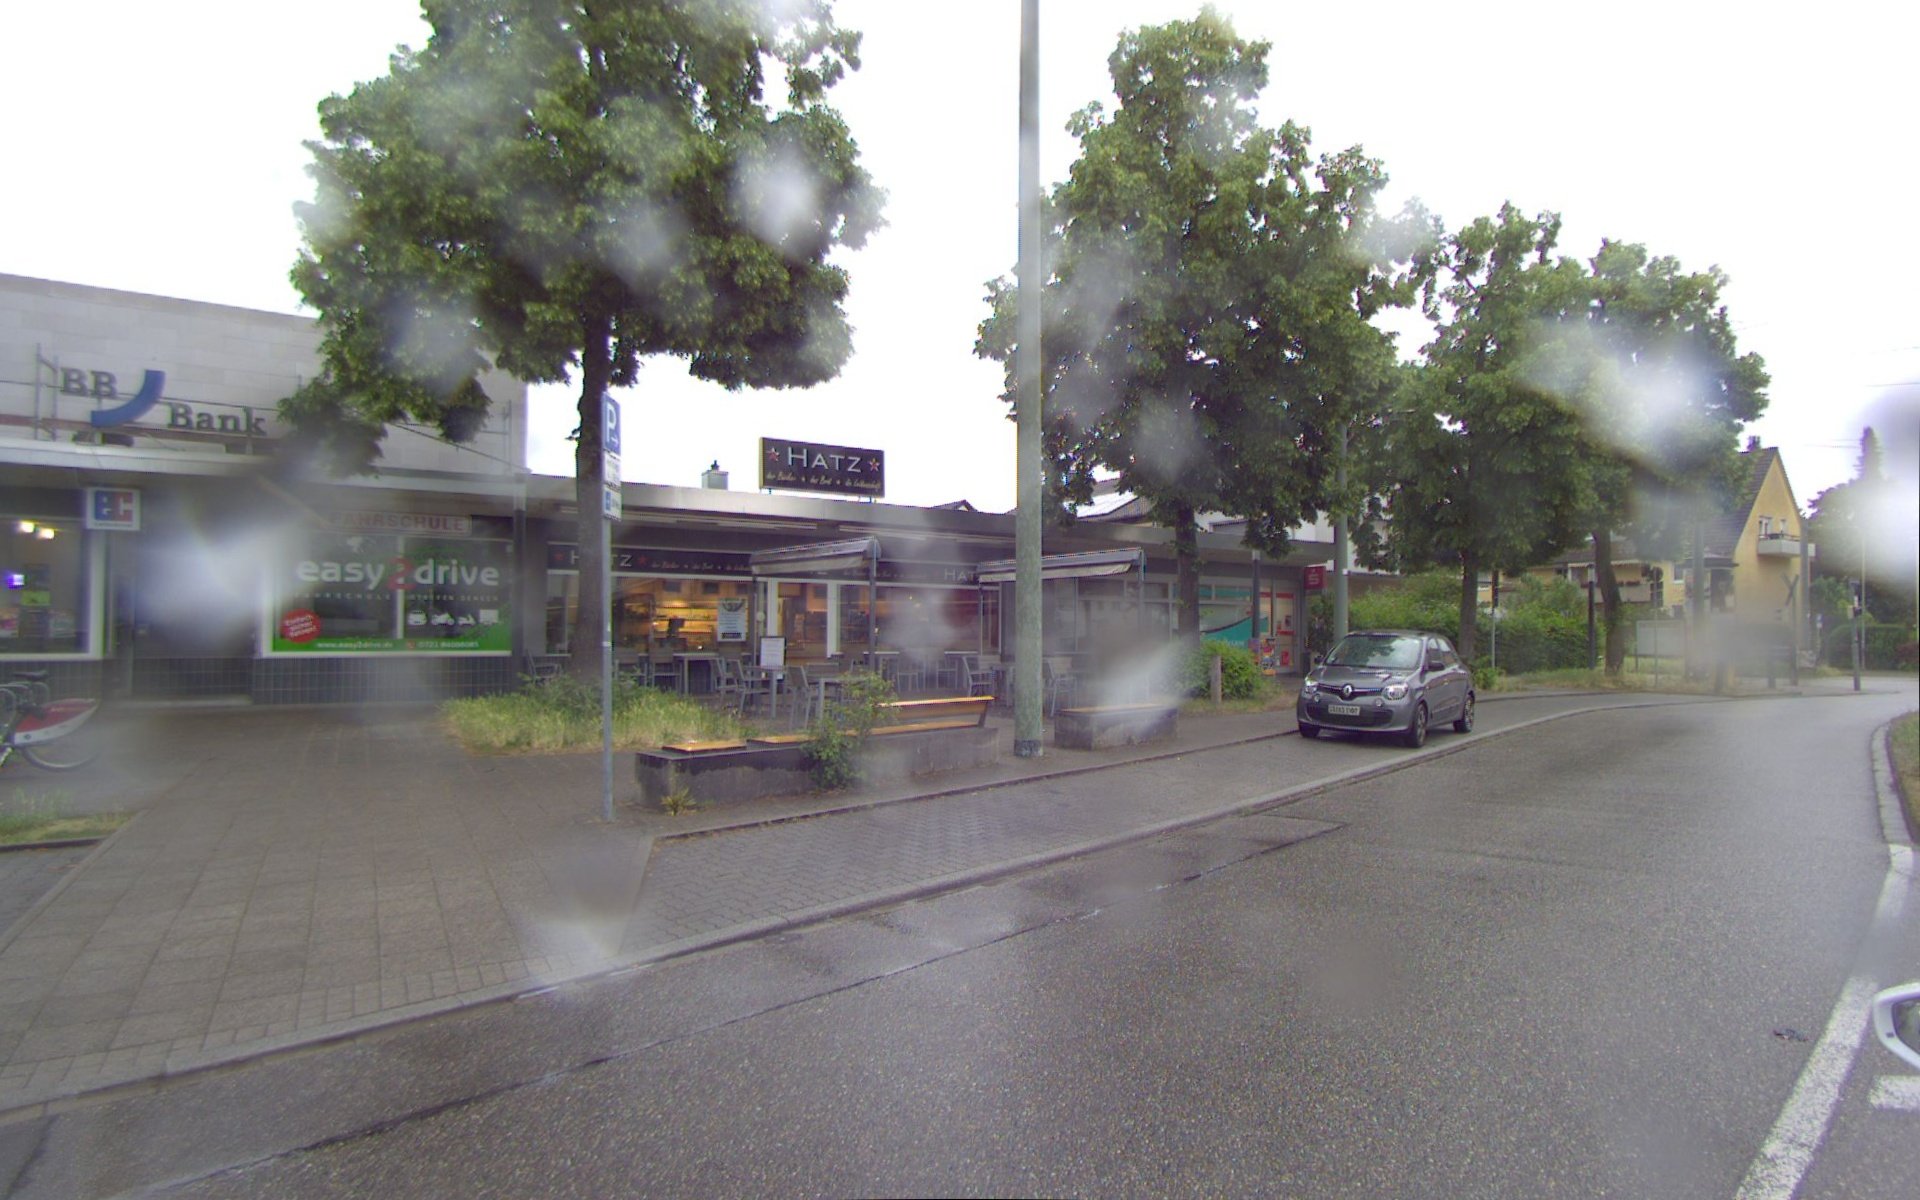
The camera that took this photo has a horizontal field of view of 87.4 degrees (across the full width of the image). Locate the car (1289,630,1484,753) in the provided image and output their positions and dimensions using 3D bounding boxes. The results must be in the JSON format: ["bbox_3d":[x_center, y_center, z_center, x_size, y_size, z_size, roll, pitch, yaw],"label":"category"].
[{"bbox_3d":[6.382,1.237,14.831,1.598,1.516,3.649,2,0,40],"label":"car"}]

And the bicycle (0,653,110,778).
[{"bbox_3d":[-9.002,1.074,9.262,0.314,1.122,1.739,2,0,43],"label":"bicycle"}]

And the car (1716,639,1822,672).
[{"bbox_3d":[41.969,2.841,52.184,1.815,1.476,3.960,2,0,-35],"label":"car"}]
